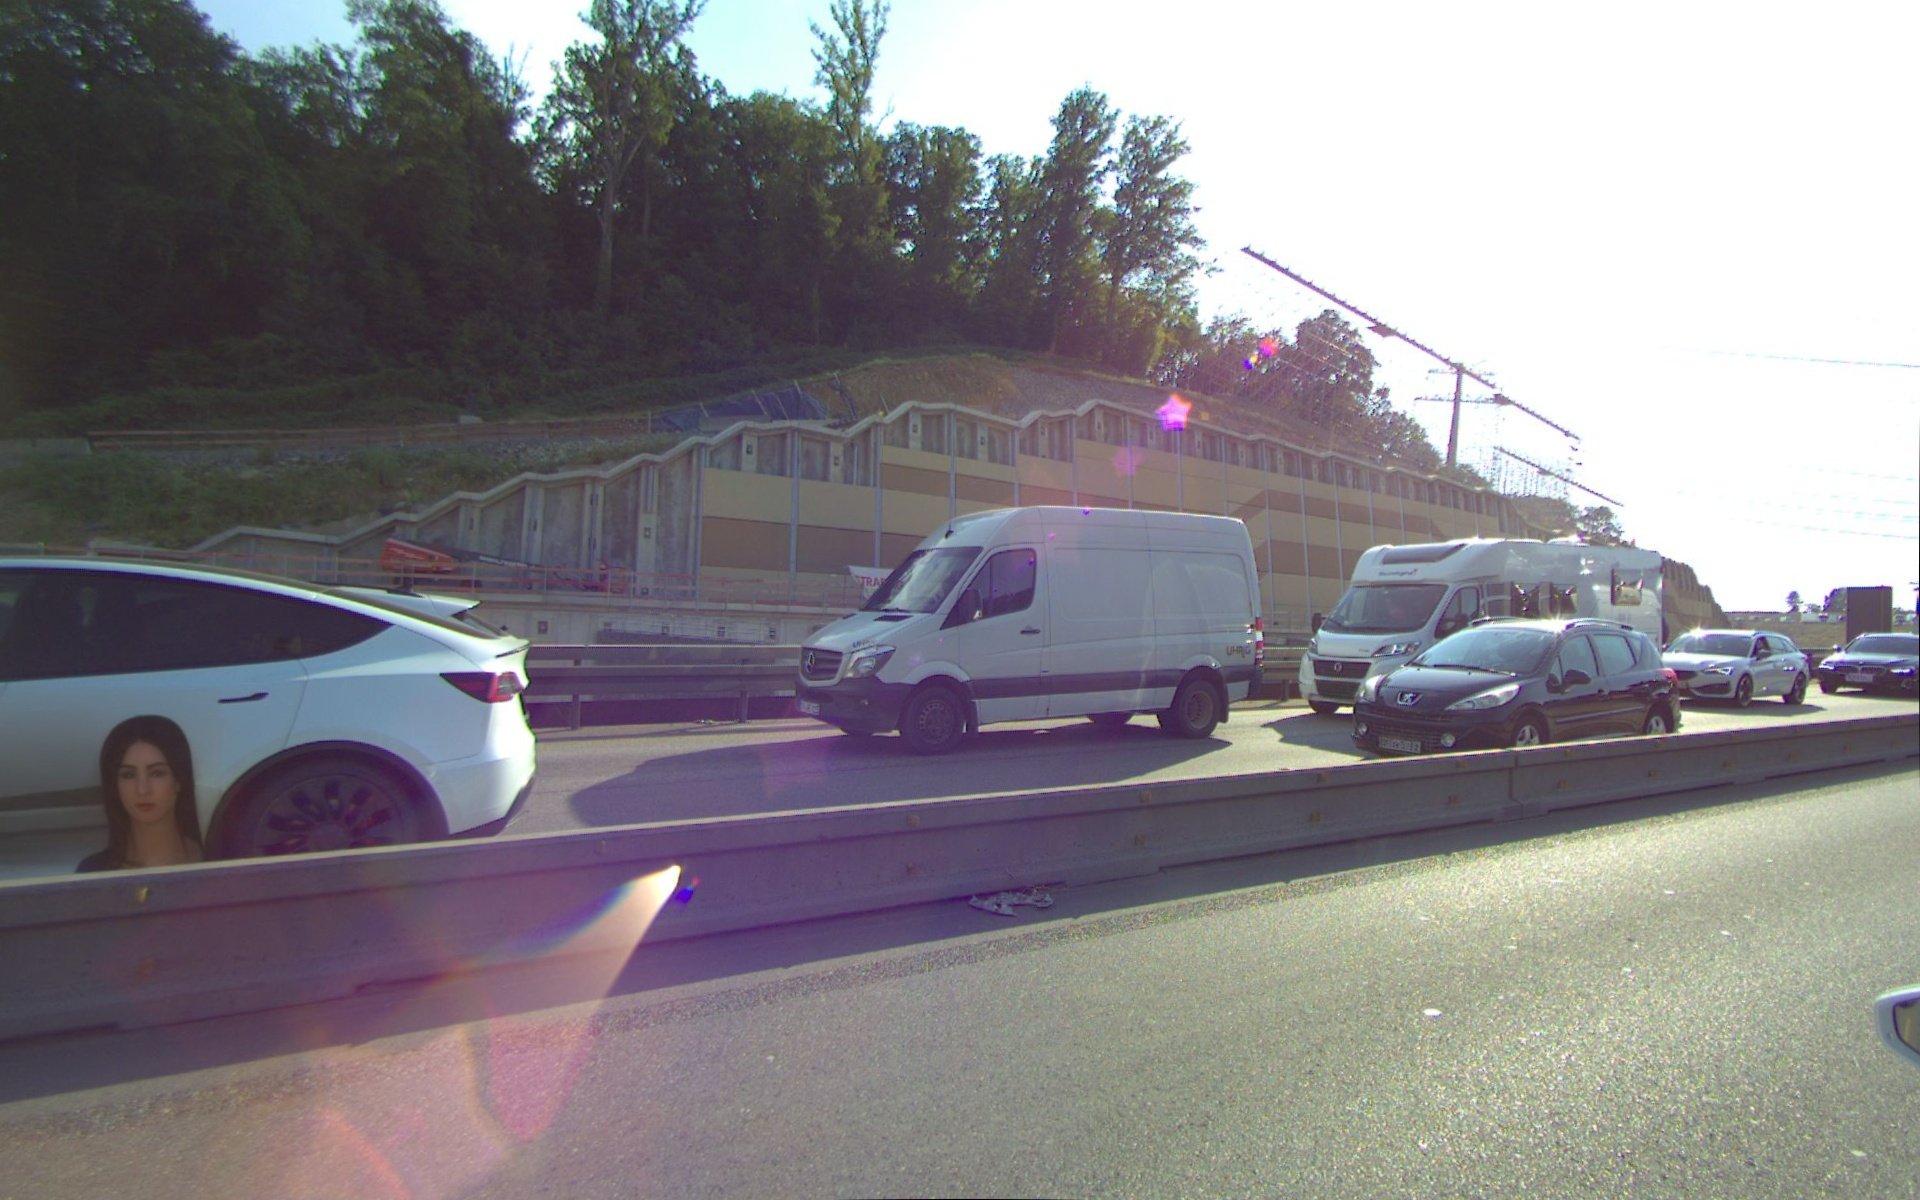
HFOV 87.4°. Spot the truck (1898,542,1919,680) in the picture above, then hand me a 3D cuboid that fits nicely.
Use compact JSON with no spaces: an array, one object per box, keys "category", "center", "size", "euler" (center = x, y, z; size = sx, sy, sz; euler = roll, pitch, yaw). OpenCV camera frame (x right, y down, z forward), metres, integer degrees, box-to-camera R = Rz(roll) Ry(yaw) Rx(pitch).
[{"category":"truck","center":[32.468,0.430,31.971],"size":[5.626,4.274,2.695],"euler":[2,-1,-35]}]

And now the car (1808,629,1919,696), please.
[{"category":"car","center":[22.887,1.517,24.774],"size":[4.662,1.479,1.733],"euler":[2,-1,-33]}]

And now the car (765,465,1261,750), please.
[{"category":"car","center":[0.795,0.180,11.711],"size":[5.686,2.655,1.946],"euler":[2,-2,-32]}]

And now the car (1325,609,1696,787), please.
[{"category":"car","center":[5.989,0.906,10.844],"size":[3.955,1.542,1.772],"euler":[1,2,-32]}]

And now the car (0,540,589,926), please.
[{"category":"car","center":[-4.384,0.563,4.747],"size":[4.672,1.506,2.048],"euler":[1,-3,-31]}]

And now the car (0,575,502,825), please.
[{"category":"car","center":[-5.619,0.634,7.369],"size":[3.955,1.543,1.755],"euler":[2,0,-30]}]

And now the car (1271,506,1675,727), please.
[{"category":"car","center":[8.606,0.360,16.452],"size":[7.547,2.956,2.322],"euler":[2,-2,-32]}]

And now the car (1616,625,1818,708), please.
[{"category":"car","center":[15.302,1.297,20.236],"size":[4.559,1.441,1.739],"euler":[2,0,-32]}]
